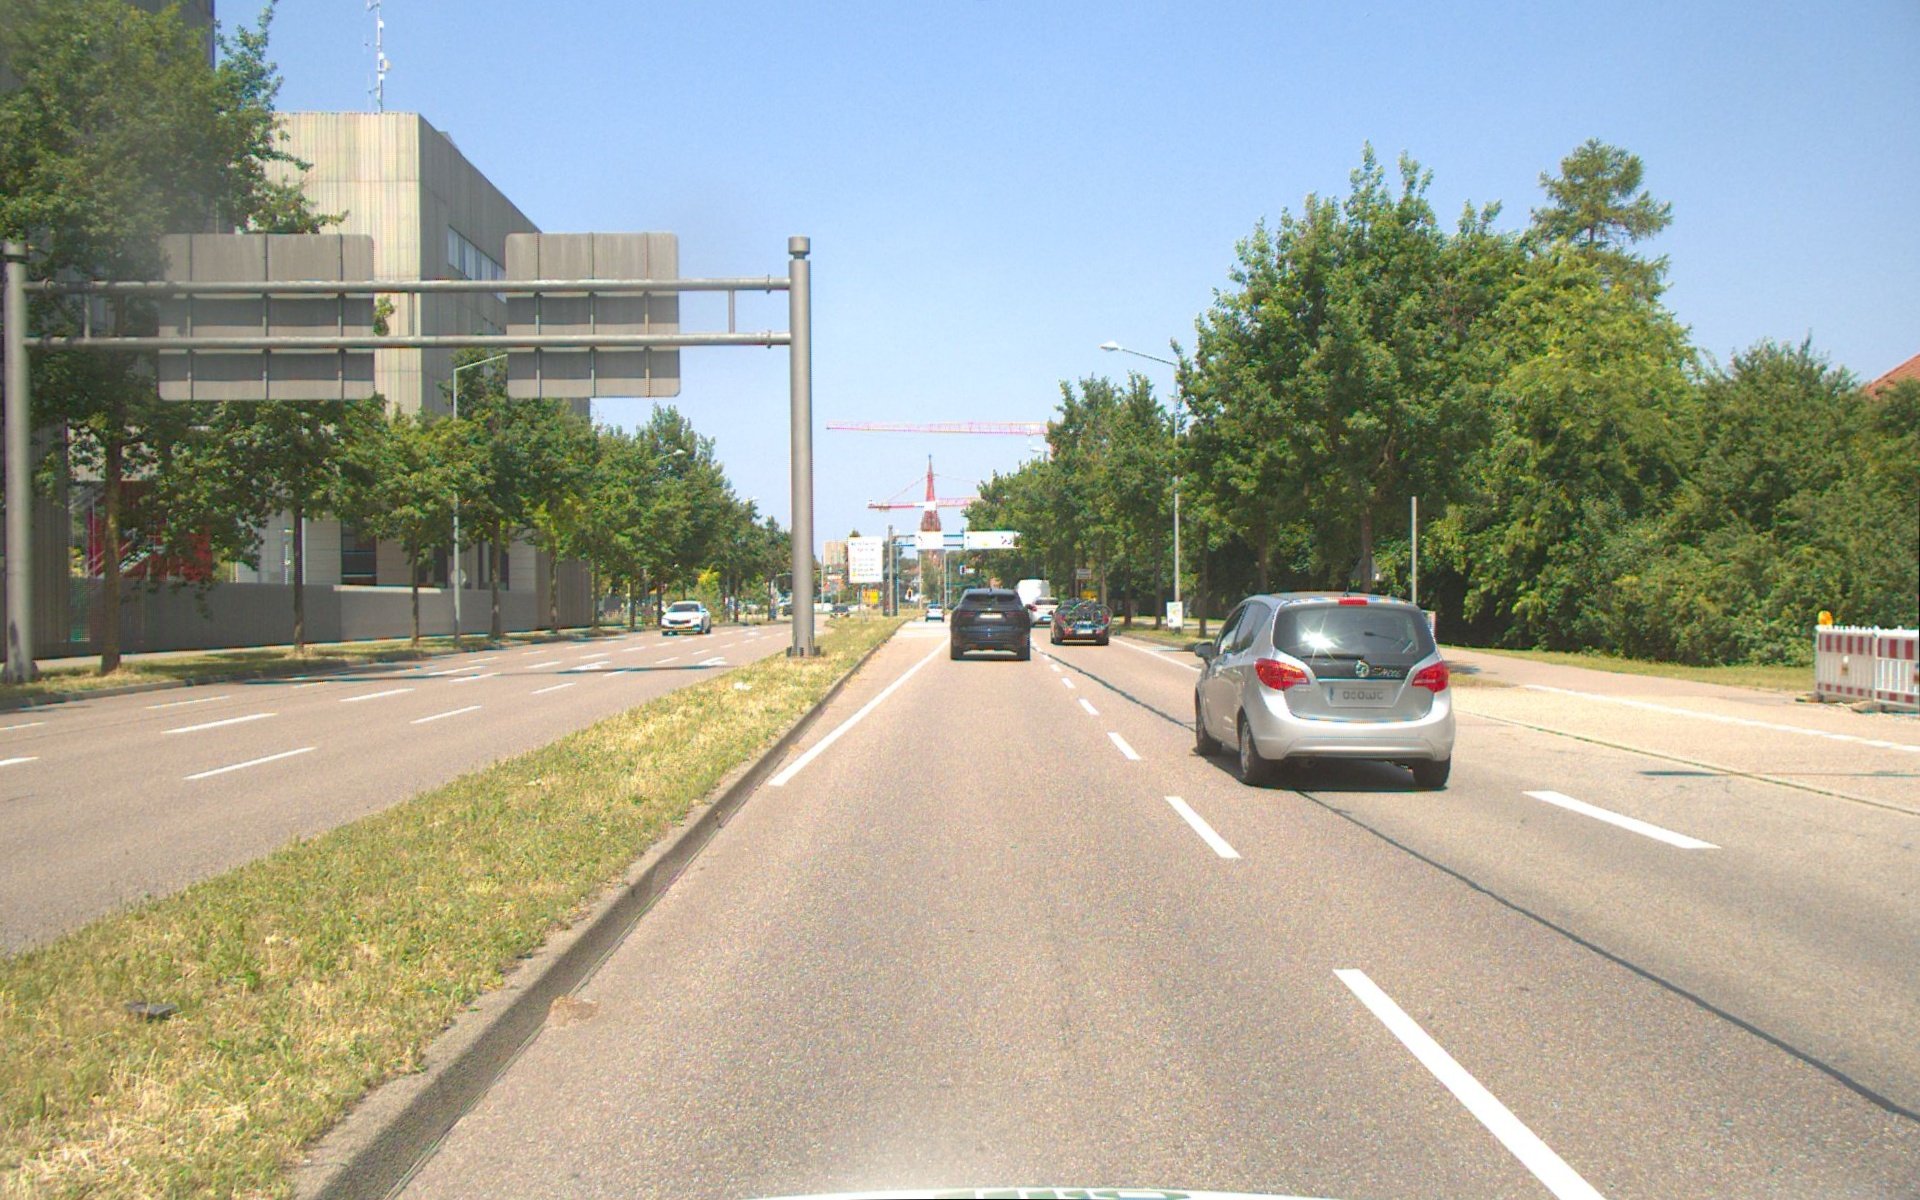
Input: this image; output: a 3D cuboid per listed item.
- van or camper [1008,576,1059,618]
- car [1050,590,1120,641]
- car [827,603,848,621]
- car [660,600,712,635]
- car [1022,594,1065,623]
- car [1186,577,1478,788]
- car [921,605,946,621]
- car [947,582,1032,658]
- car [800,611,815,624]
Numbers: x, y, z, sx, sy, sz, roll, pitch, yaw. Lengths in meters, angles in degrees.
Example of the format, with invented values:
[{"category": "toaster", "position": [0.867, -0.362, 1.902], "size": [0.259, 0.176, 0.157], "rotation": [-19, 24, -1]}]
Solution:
[{"category": "van or camper", "position": [4.215, -0.159, 95.865], "size": [2.444, 2.331, 4.918], "rotation": [-1, 0, -3]}, {"category": "car", "position": [3.955, 0.483, 53.015], "size": [1.973, 1.544, 4.461], "rotation": [-1, 0, 1]}, {"category": "car", "position": [-10.997, 1.071, 148.742], "size": [1.673, 1.497, 3.939], "rotation": [-2, 0, -3]}, {"category": "car", "position": [-12.212, 0.769, 73.887], "size": [1.774, 1.452, 4.356], "rotation": [-2, 0, -3]}, {"category": "car", "position": [4.222, 0.419, 83.772], "size": [1.622, 1.380, 4.456], "rotation": [-1, 0, -4]}, {"category": "car", "position": [3.200, 0.639, 14.984], "size": [1.755, 1.640, 3.891], "rotation": [1, 0, 0]}, {"category": "car", "position": [-2.437, 1.148, 149.327], "size": [1.955, 1.344, 3.996], "rotation": [0, 0, -5]}, {"category": "car", "position": [0.692, 0.455, 39.973], "size": [1.957, 1.719, 4.034], "rotation": [0, 0, 0]}, {"category": "car", "position": [-20.473, 2.361, 221.898], "size": [1.855, 1.639, 4.531], "rotation": [-1, 0, -3]}]
